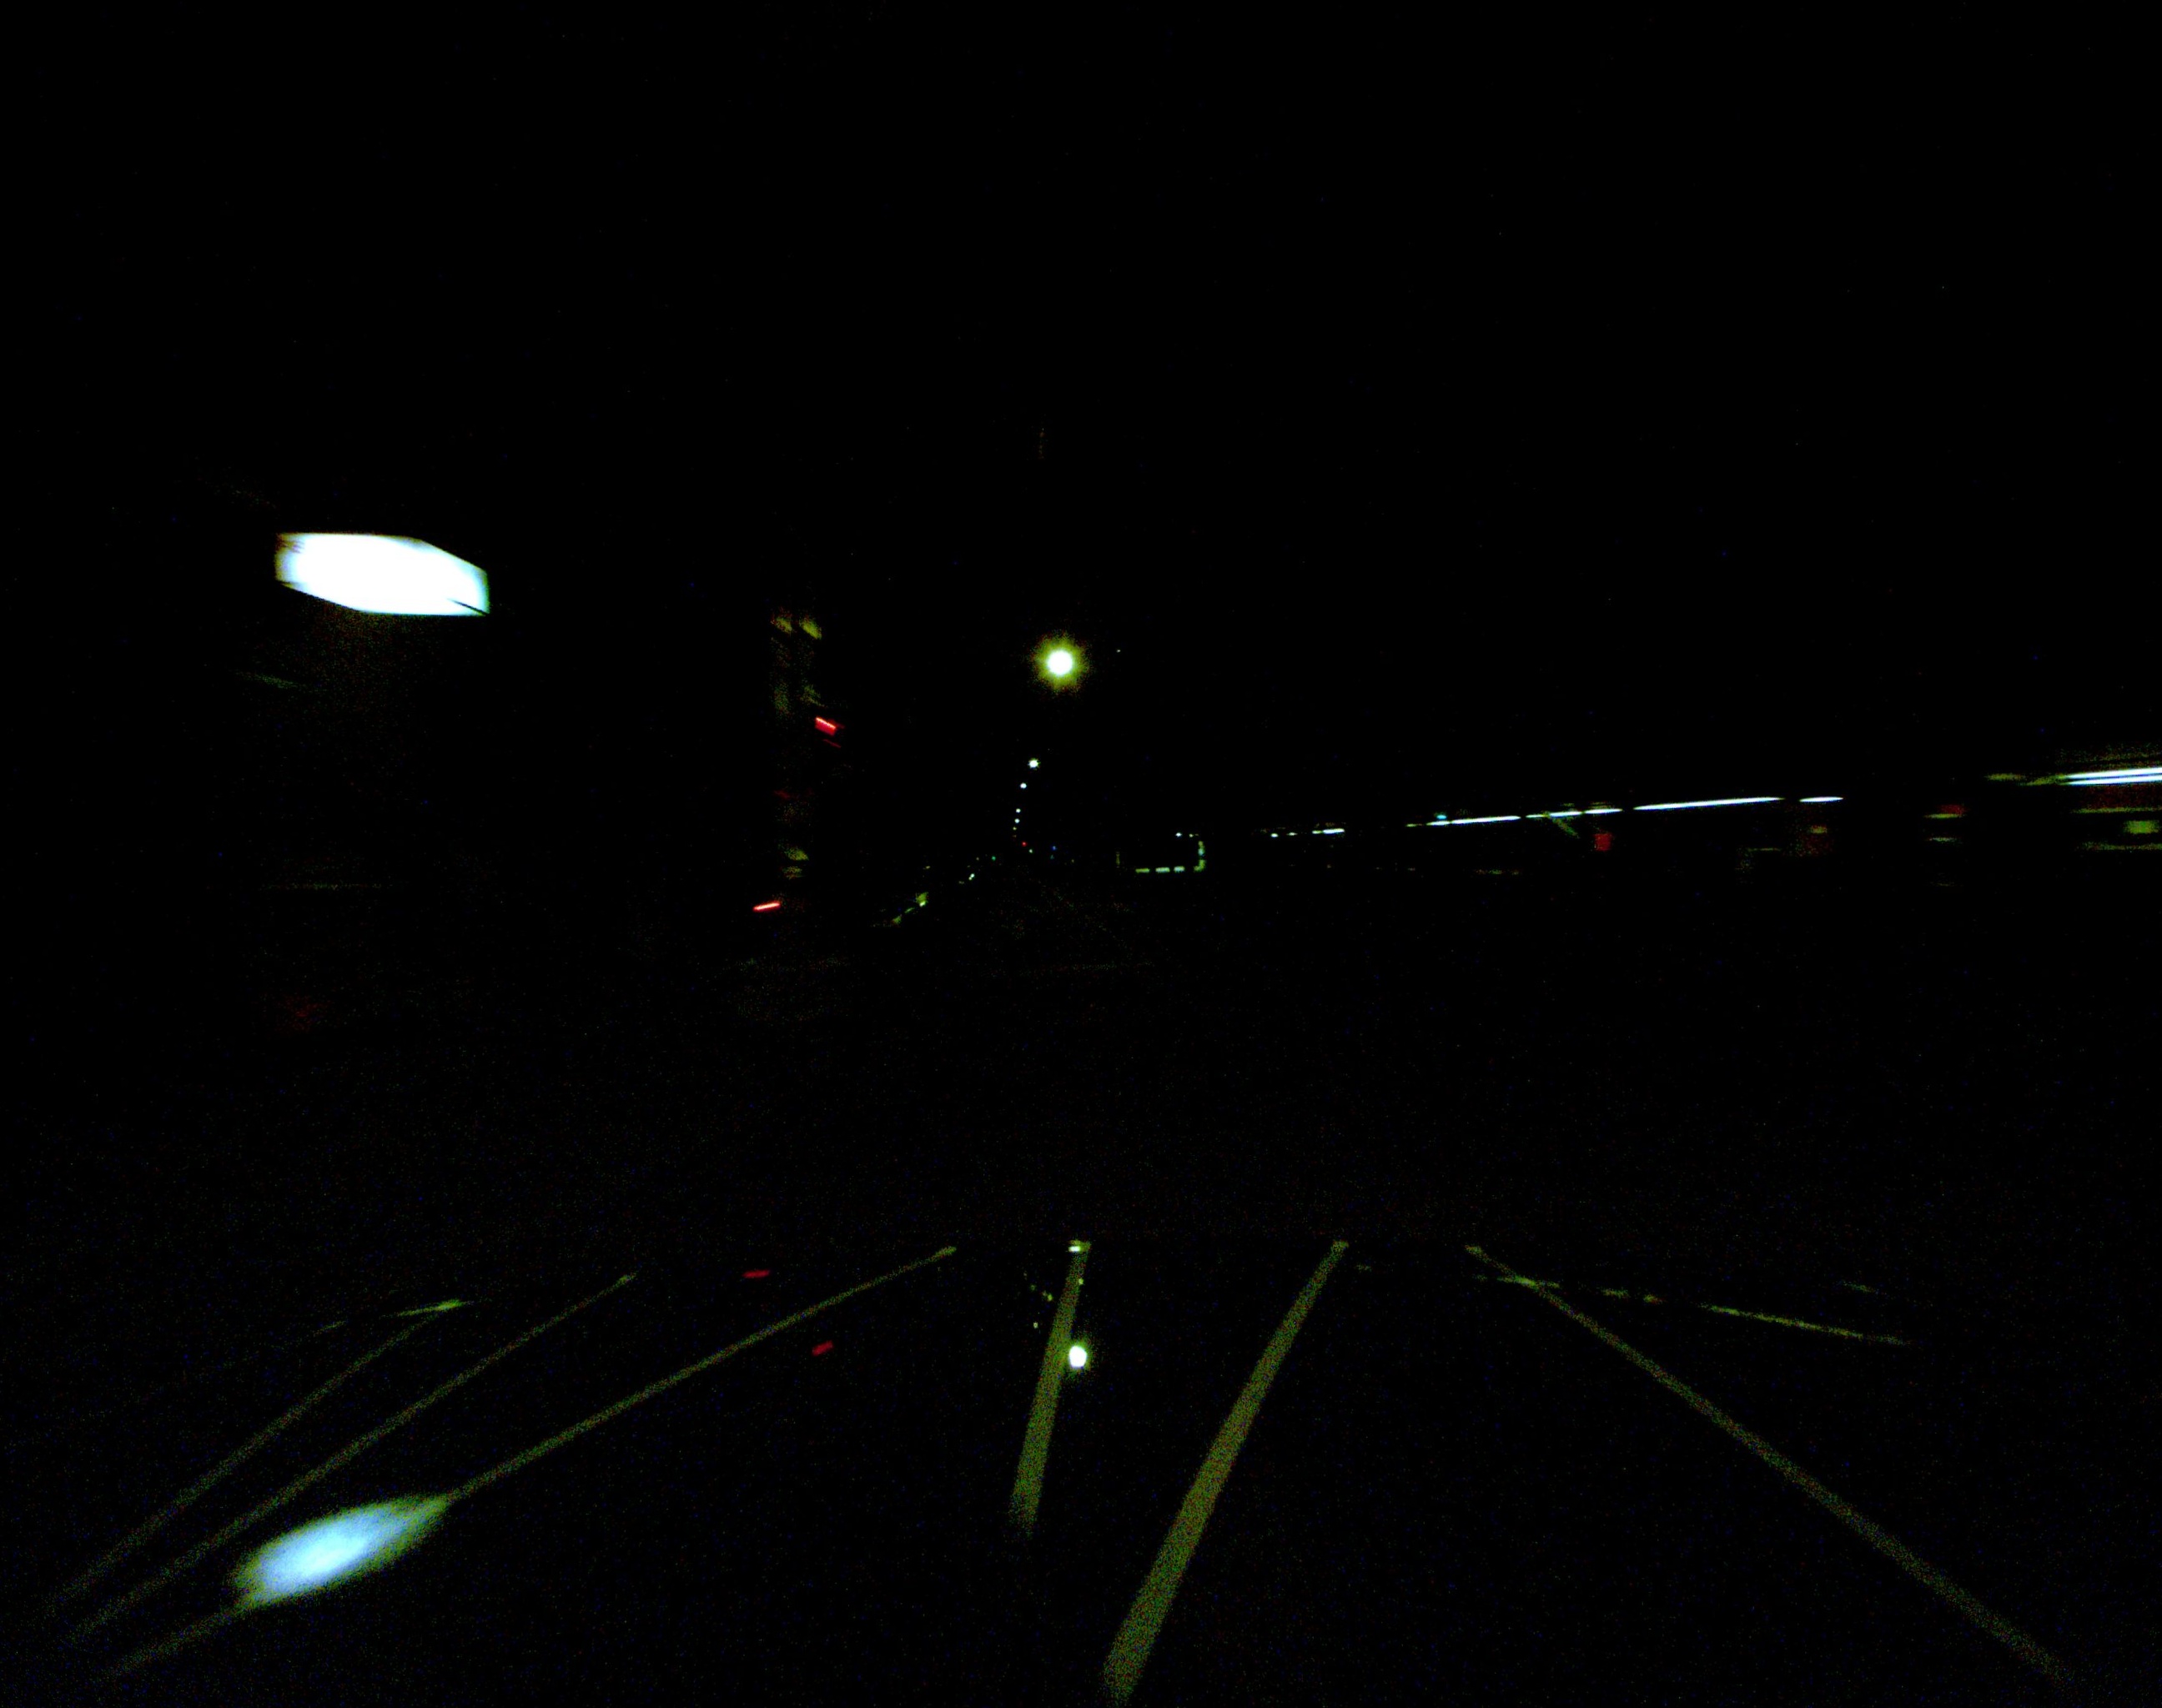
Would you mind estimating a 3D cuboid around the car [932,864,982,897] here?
[{"bbox_3d":[-5.415,1.121,33.685,1.781,1.351,4.421,0,-1,-4],"label":"car"}]

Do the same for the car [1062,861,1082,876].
[{"bbox_3d":[-0.991,1.521,80.722,1.826,1.423,3.730,-3,0,-3],"label":"car"}]

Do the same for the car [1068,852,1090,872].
[{"bbox_3d":[-0.231,0.748,74.866,1.883,1.798,3.730,-3,0,-3],"label":"car"}]

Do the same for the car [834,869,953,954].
[{"bbox_3d":[-3.690,1.070,15.556,1.591,1.452,3.796,-2,0,-2],"label":"car"}]

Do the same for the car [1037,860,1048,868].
[{"bbox_3d":[-6.896,1.808,135.724,1.827,1.423,3.729,-3,0,-6],"label":"car"}]

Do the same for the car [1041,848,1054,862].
[{"bbox_3d":[-6.523,0.224,147.504,2.006,2.493,4.952,-3,0,-6],"label":"car"}]

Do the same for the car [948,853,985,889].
[{"bbox_3d":[-5.979,0.881,39.830,1.782,1.762,4.420,0,-1,-8],"label":"car"}]

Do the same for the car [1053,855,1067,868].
[{"bbox_3d":[-2.886,1.021,102.626,1.827,1.637,3.730,0,0,-3],"label":"car"}]

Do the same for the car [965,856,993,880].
[{"bbox_3d":[-7.189,0.964,53.762,1.935,1.655,3.771,0,-1,-7],"label":"car"}]

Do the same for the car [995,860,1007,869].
[{"bbox_3d":[-13.257,1.701,125.362,1.827,1.423,3.729,-3,0,-6],"label":"car"}]

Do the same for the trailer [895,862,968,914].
[{"bbox_3d":[-4.718,1.037,24.488,1.605,1.486,3.733,-2,0,-1],"label":"trailer"}]

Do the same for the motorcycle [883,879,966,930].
[{"bbox_3d":[-3.895,1.234,19.118,0.727,1.124,2.232,-2,0,29],"label":"motorcycle"}]

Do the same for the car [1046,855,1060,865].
[{"bbox_3d":[-4.337,1.003,117.243,1.827,1.423,3.729,-3,0,-6],"label":"car"}]
